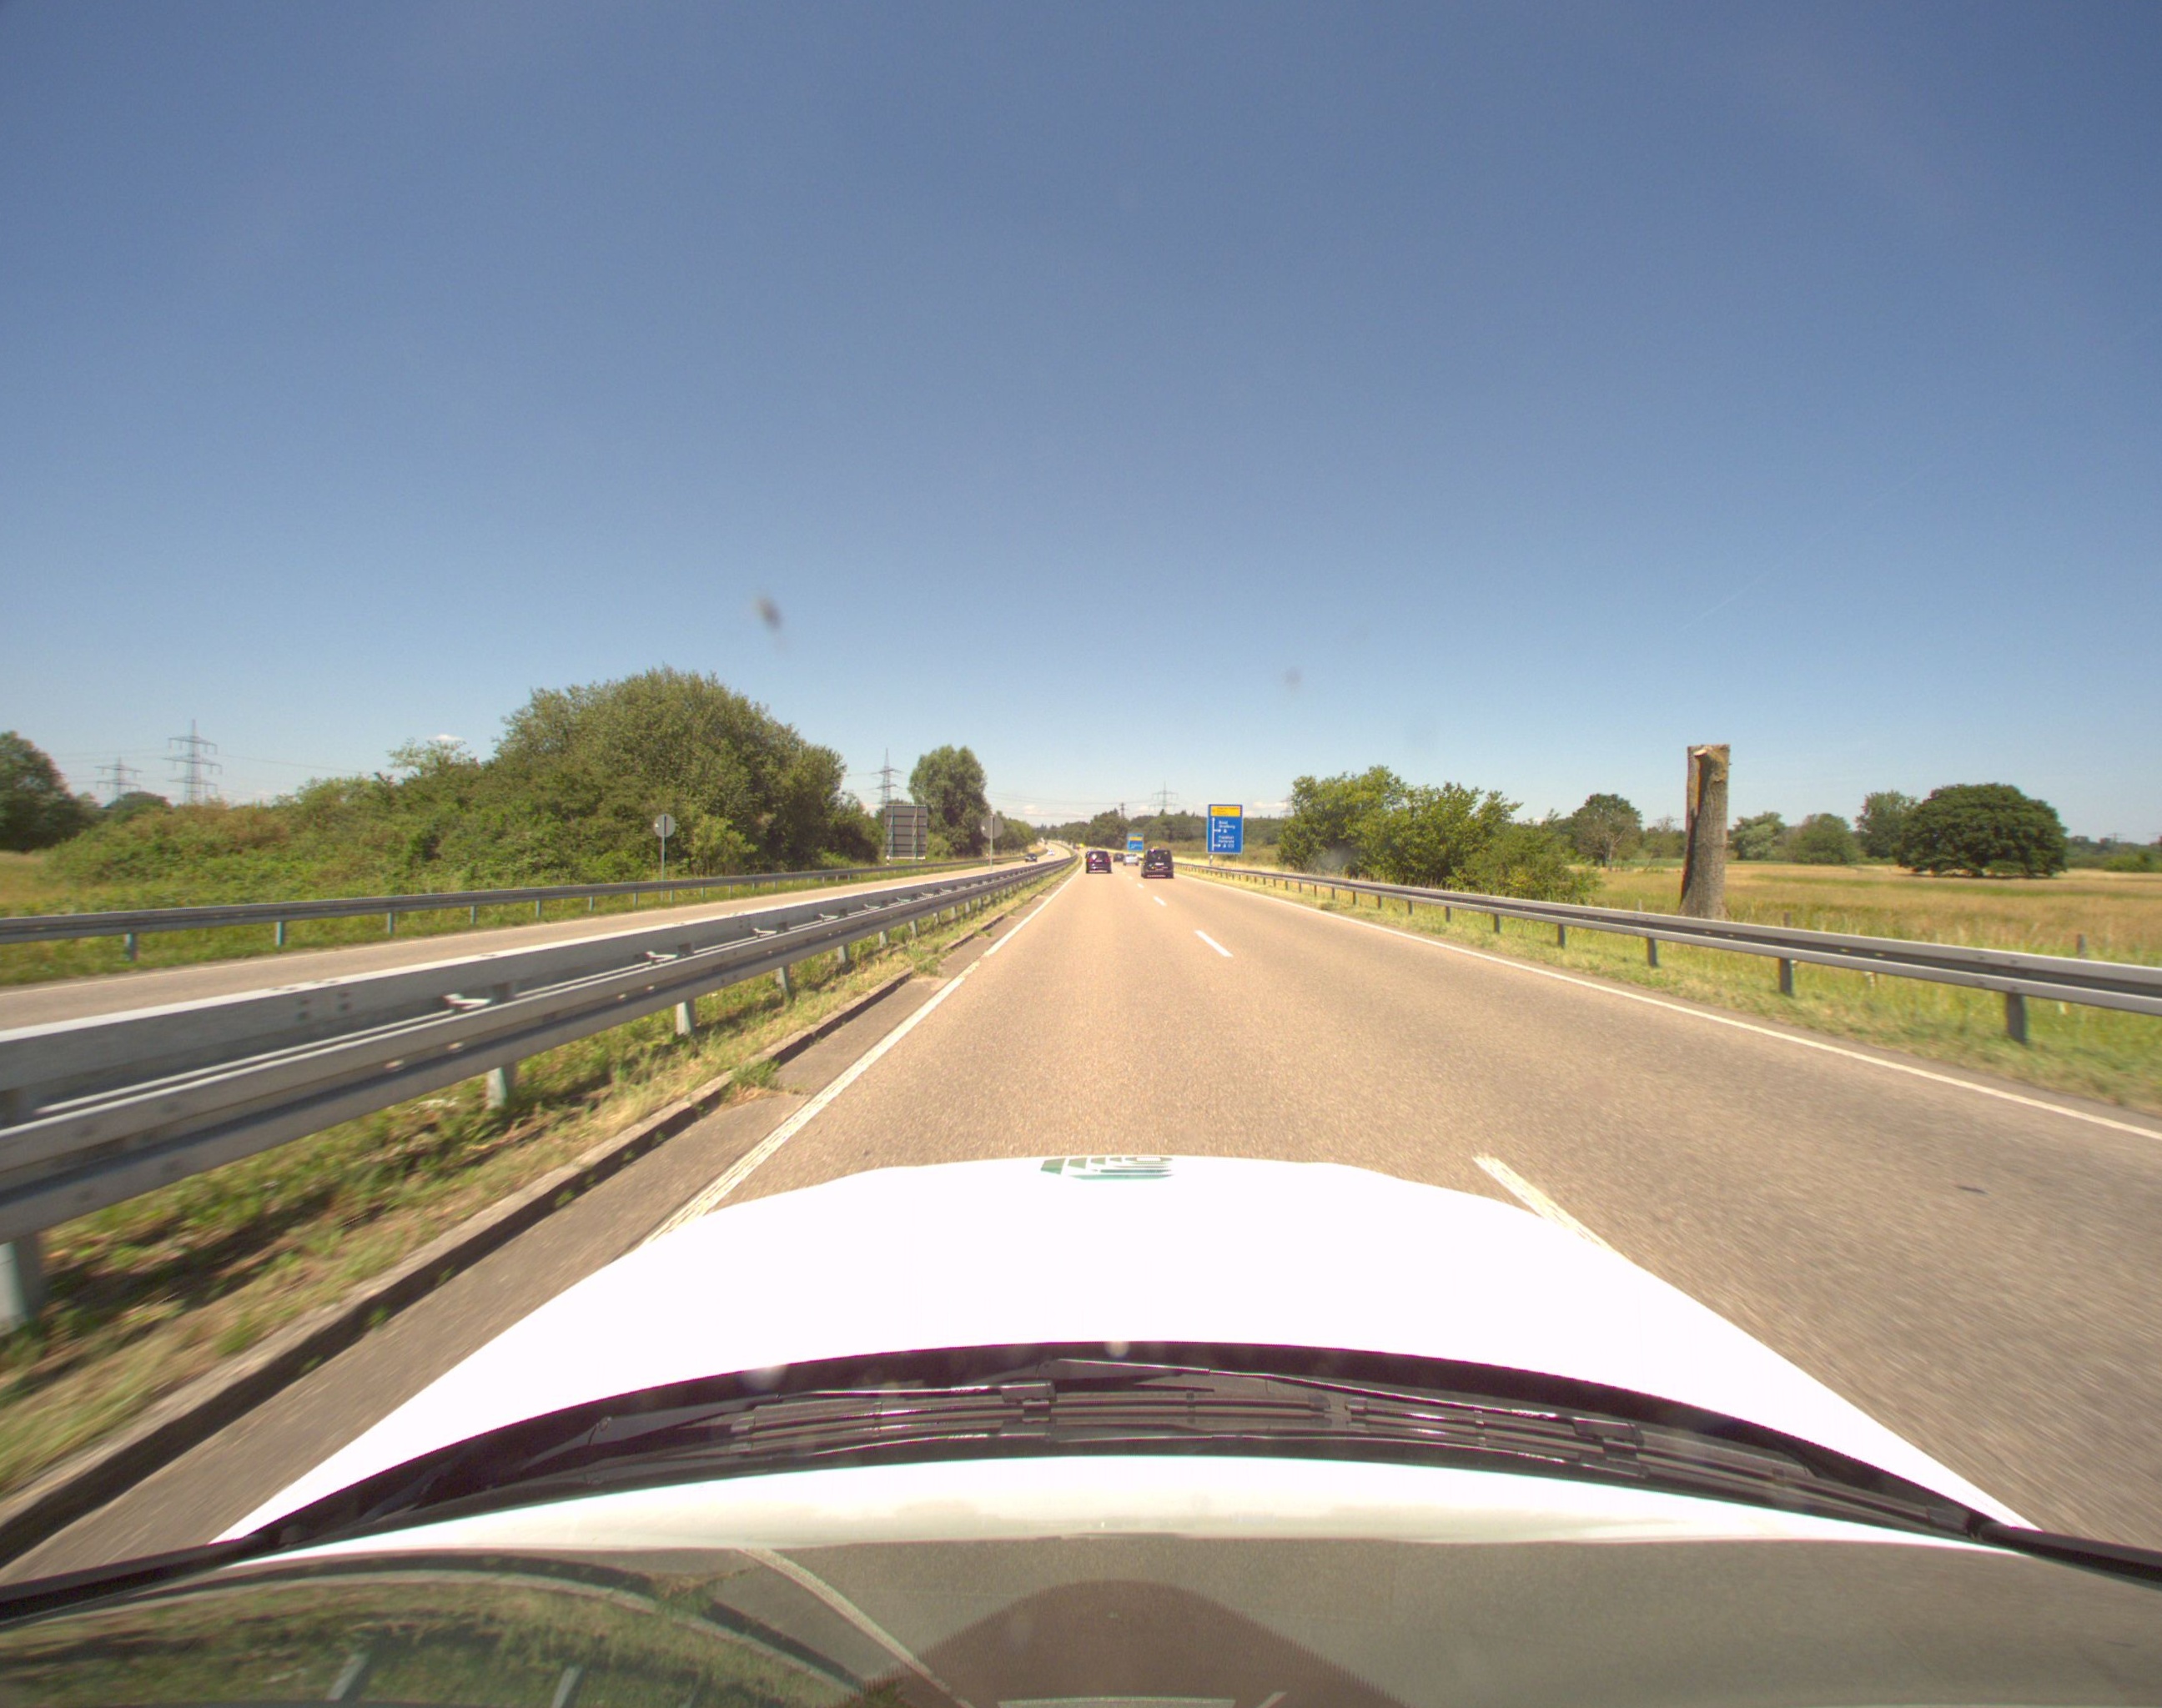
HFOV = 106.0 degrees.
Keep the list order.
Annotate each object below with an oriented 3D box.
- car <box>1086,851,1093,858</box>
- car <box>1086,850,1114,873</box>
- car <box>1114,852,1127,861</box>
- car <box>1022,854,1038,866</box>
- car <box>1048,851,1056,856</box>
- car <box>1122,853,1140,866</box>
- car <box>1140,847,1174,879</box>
[{"bbox_3d":[1.948,0.121,179.973,1.510,1.475,3.066,3,0,0],"label":"car"},{"bbox_3d":[1.408,0.550,62.130,1.987,1.654,3.999,1,0,0],"label":"car"},{"bbox_3d":[5.806,0.370,121.418,1.813,1.414,4.001,0,0,1],"label":"car"},{"bbox_3d":[-8.052,0.962,129.429,1.986,1.637,4.875,3,0,1],"label":"car"},{"bbox_3d":[-8.029,-0.168,225.774,1.821,1.497,4.102,1,0,0],"label":"car"},{"bbox_3d":[5.795,0.632,95.292,1.773,1.479,4.314,1,0,0],"label":"car"},{"bbox_3d":[4.670,0.549,50.284,1.773,1.817,4.214,1,0,1],"label":"car"}]
